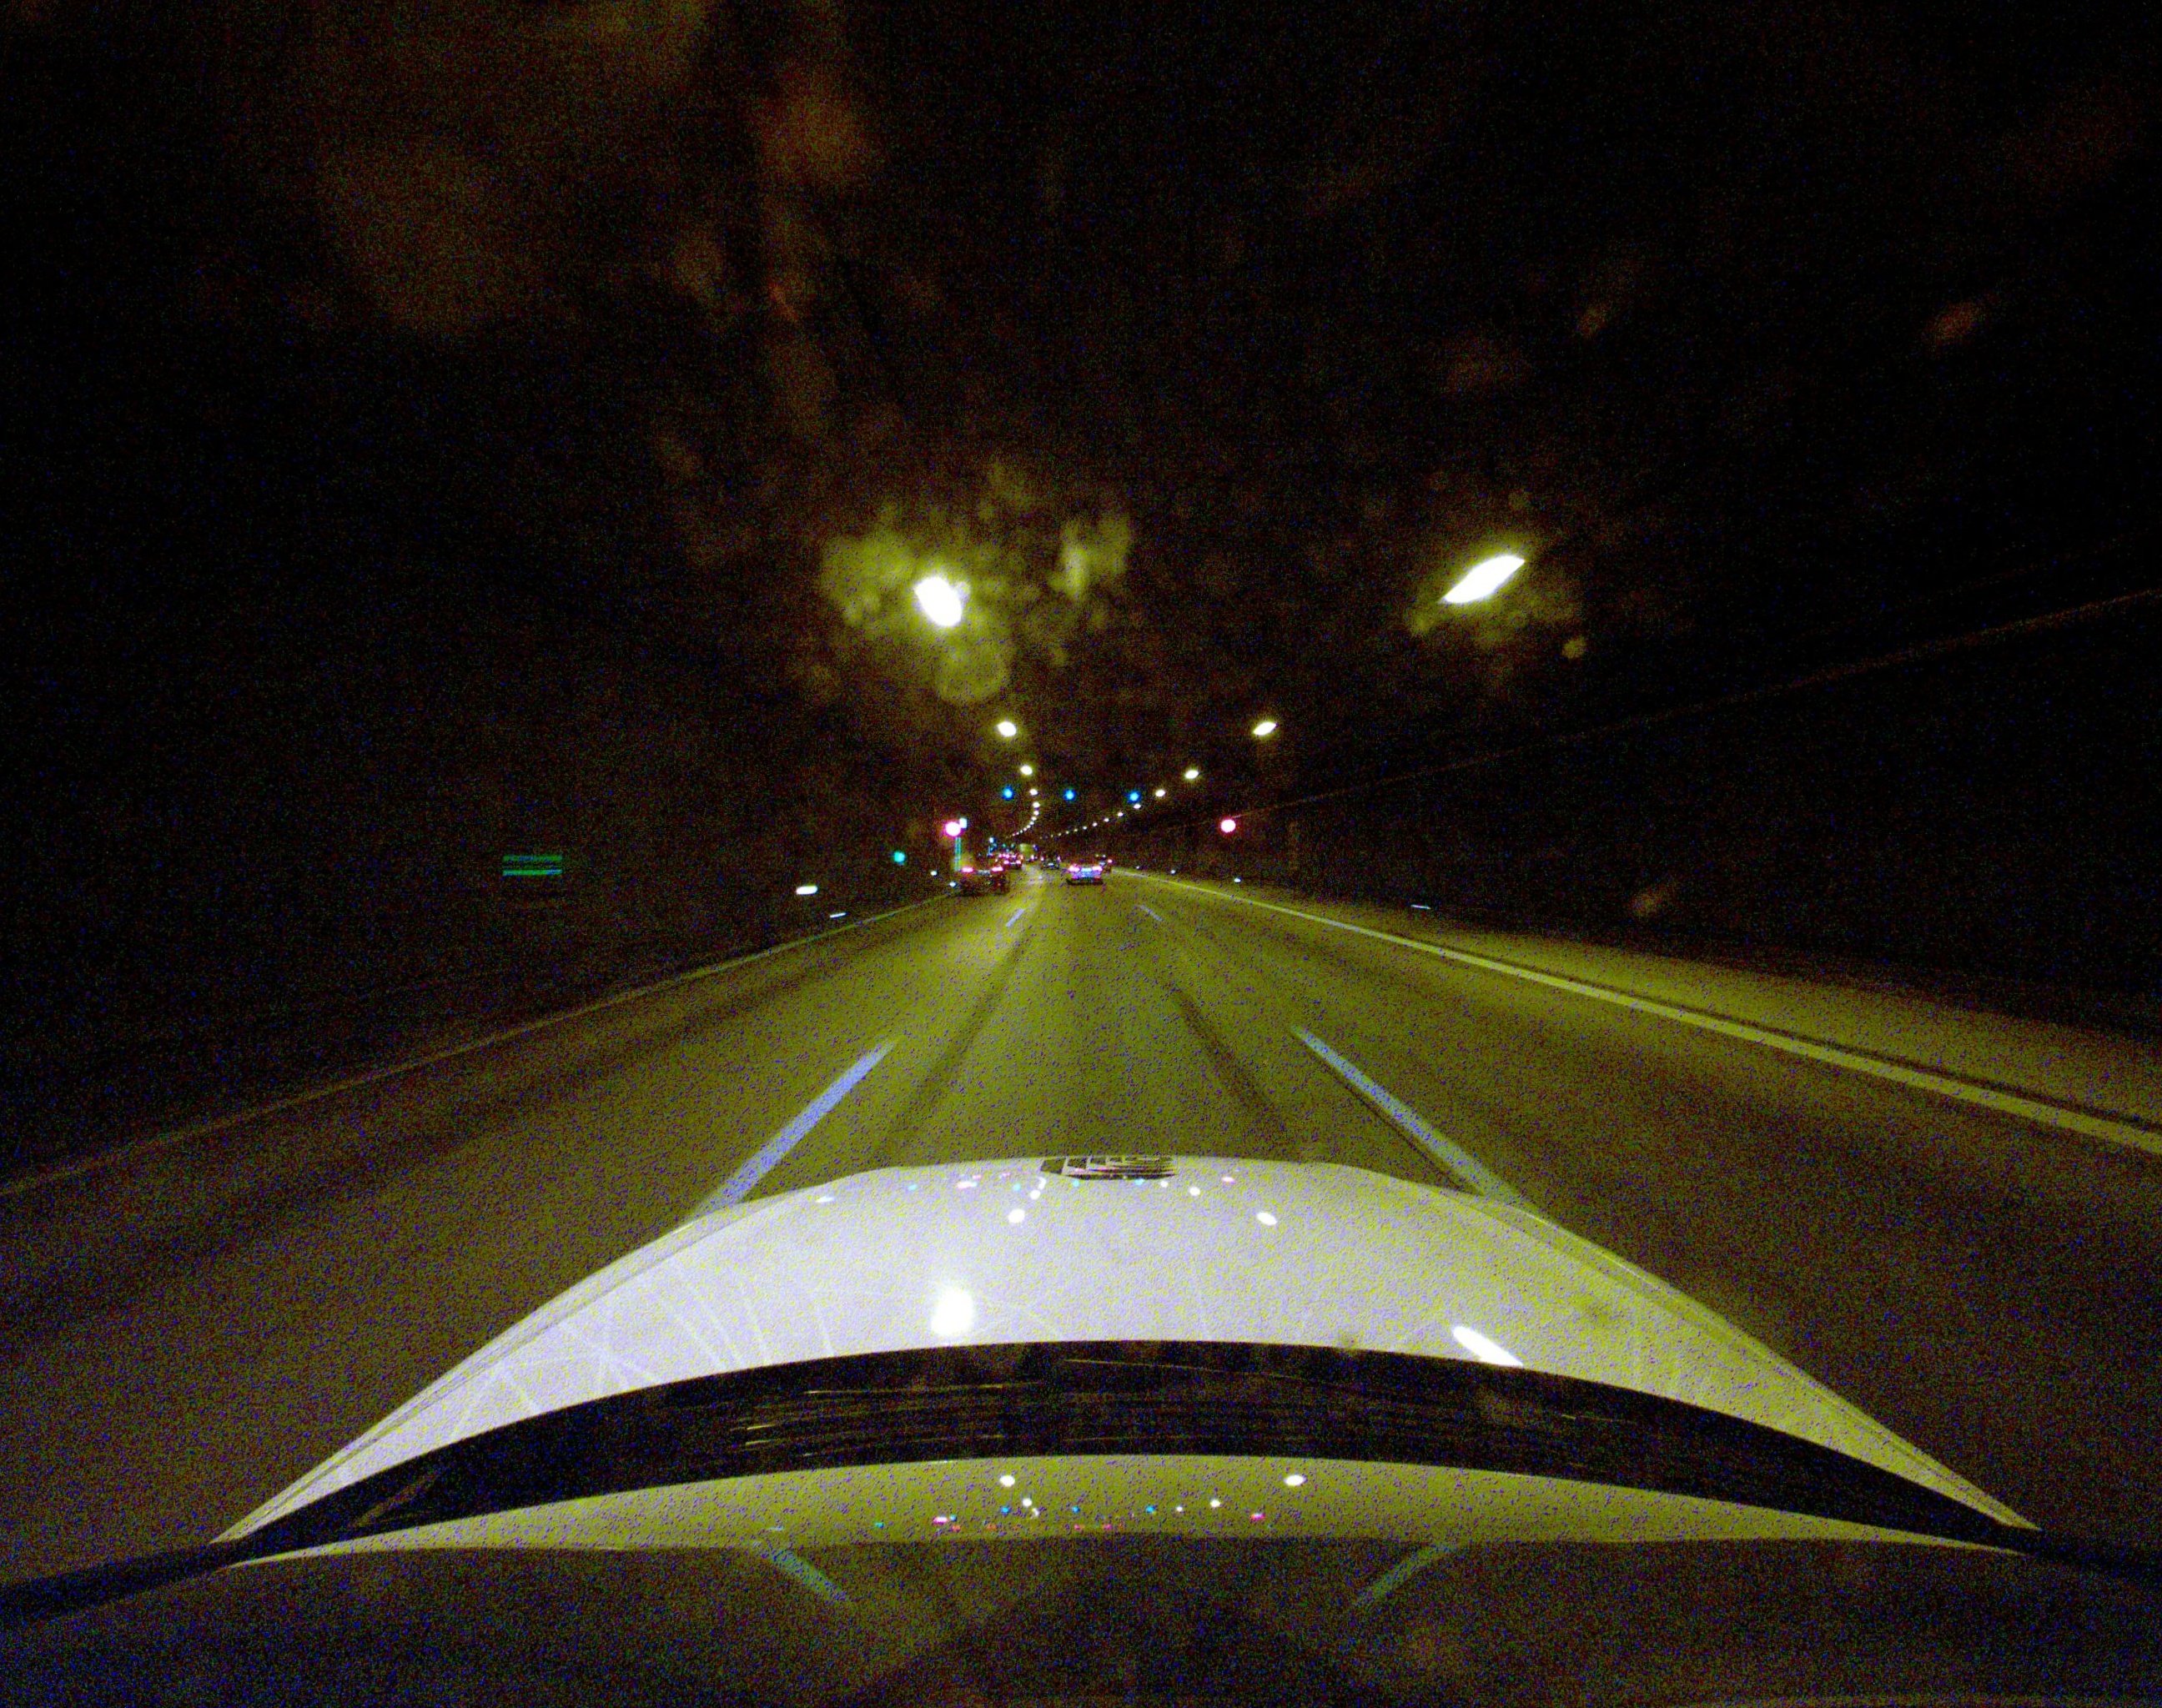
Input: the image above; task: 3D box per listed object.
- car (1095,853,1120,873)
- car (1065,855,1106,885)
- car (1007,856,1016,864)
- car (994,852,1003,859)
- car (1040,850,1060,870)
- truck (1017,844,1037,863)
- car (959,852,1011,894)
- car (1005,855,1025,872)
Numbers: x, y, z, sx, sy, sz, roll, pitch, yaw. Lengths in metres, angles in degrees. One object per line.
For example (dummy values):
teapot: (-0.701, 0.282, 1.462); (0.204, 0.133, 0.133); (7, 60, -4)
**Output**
car: (2.207, 0.745, 69.399); (1.835, 1.602, 3.997); (0, -1, -2)
car: (0.183, 0.811, 42.699); (1.989, 1.483, 3.996); (0, 0, -2)
car: (-16.081, 1.445, 188.834); (1.990, 1.754, 3.994); (0, -1, -4)
car: (-17.796, 0.297, 175.028); (1.991, 1.530, 3.991); (0, -1, -6)
car: (-3.230, 0.612, 84.626); (1.988, 1.972, 3.997); (-1, -1, -2)
truck: (-9.114, -0.152, 137.384); (3.078, 3.113, 10.010); (0, 0, -5)
car: (-3.865, 0.736, 33.246); (1.781, 1.598, 3.797); (0, 0, -3)
car: (-6.432, 0.926, 79.587); (1.797, 1.684, 3.995); (0, -1, -3)
